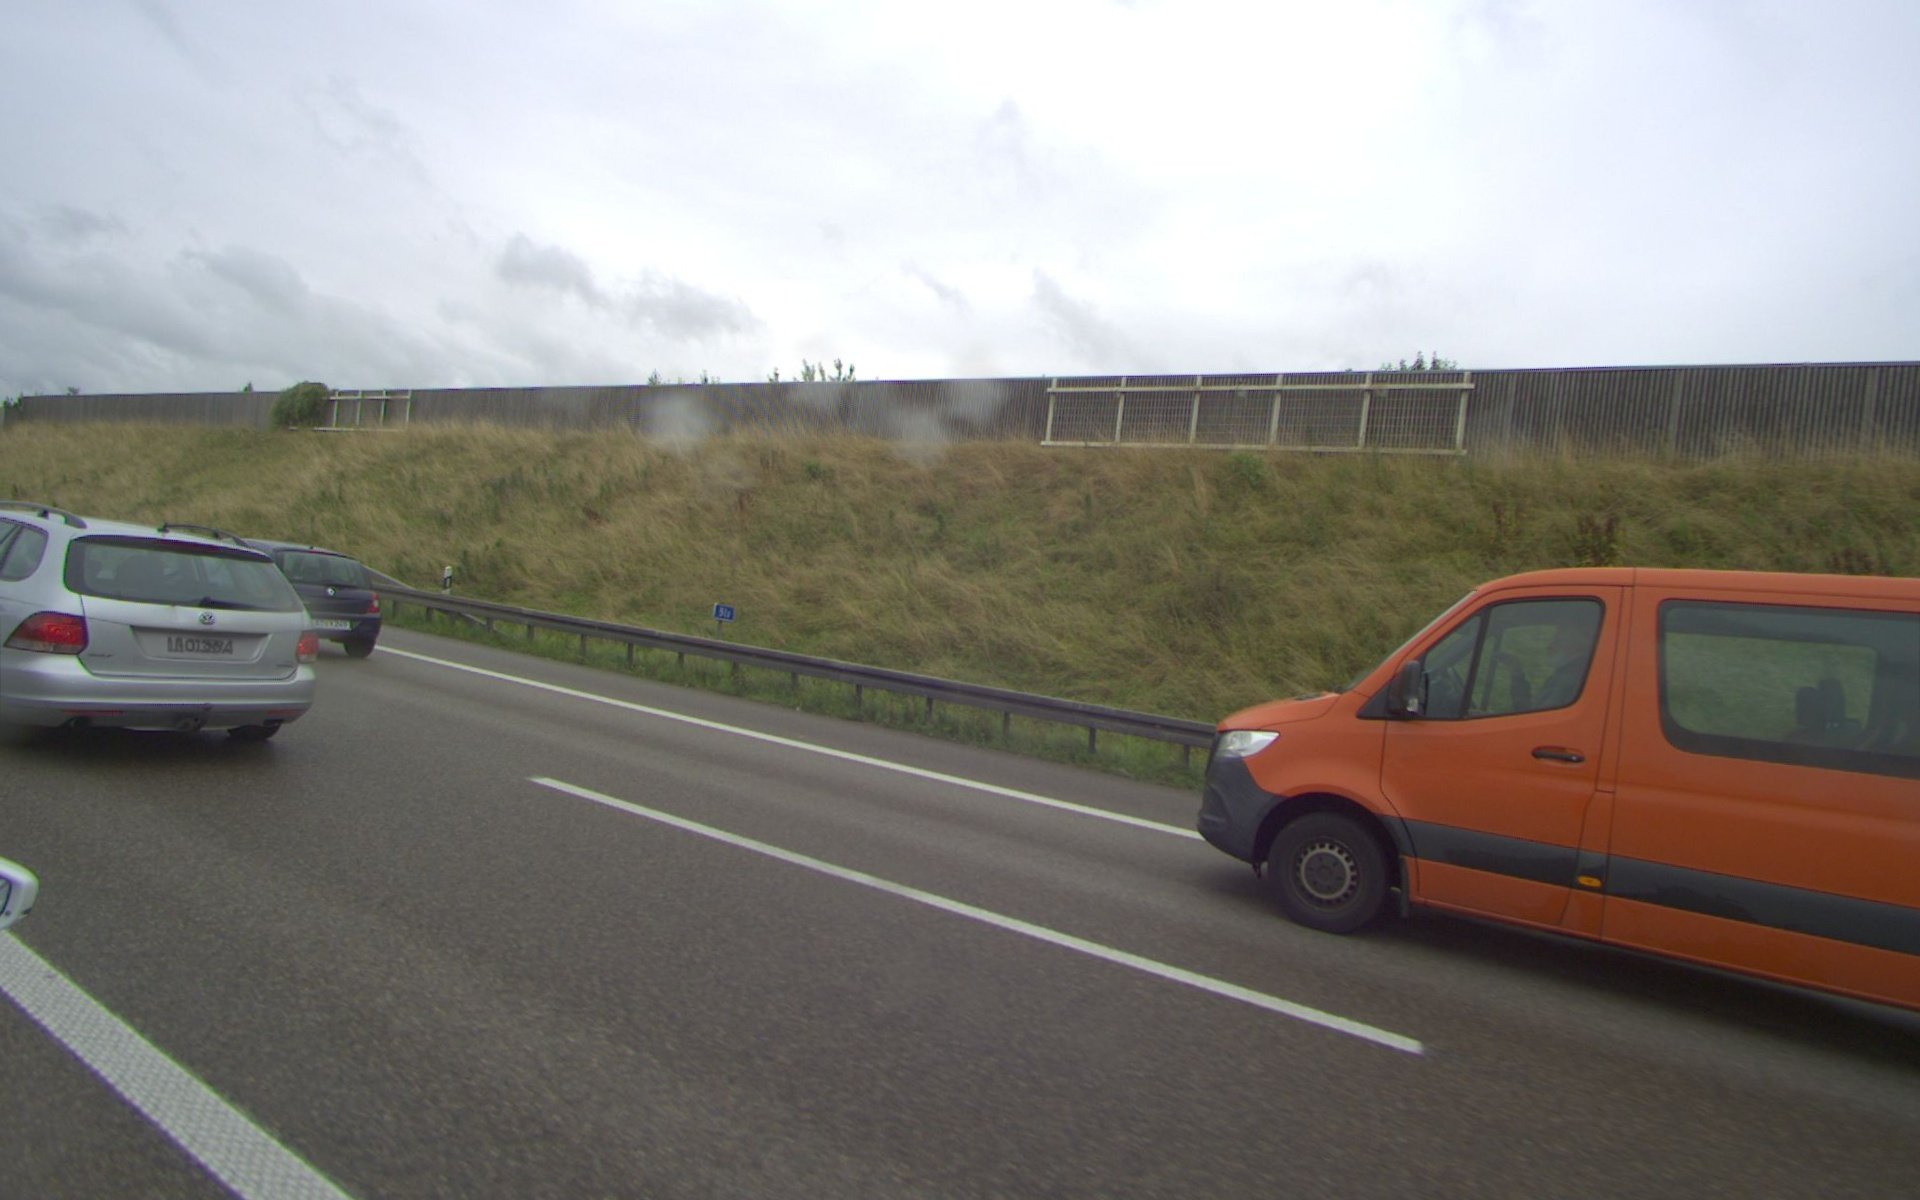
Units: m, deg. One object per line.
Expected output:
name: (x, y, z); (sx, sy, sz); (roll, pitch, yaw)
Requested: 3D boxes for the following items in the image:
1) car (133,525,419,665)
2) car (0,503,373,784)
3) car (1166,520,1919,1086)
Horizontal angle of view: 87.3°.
car: (-9.450, -0.090, 13.852); (3.810, 1.417, 1.706); (6, -2, 31)
car: (-6.385, 0.107, 7.231); (4.441, 1.442, 1.744); (7, 0, 31)
car: (4.543, 1.050, 5.653); (6.079, 2.343, 2.089); (7, 0, 32)
